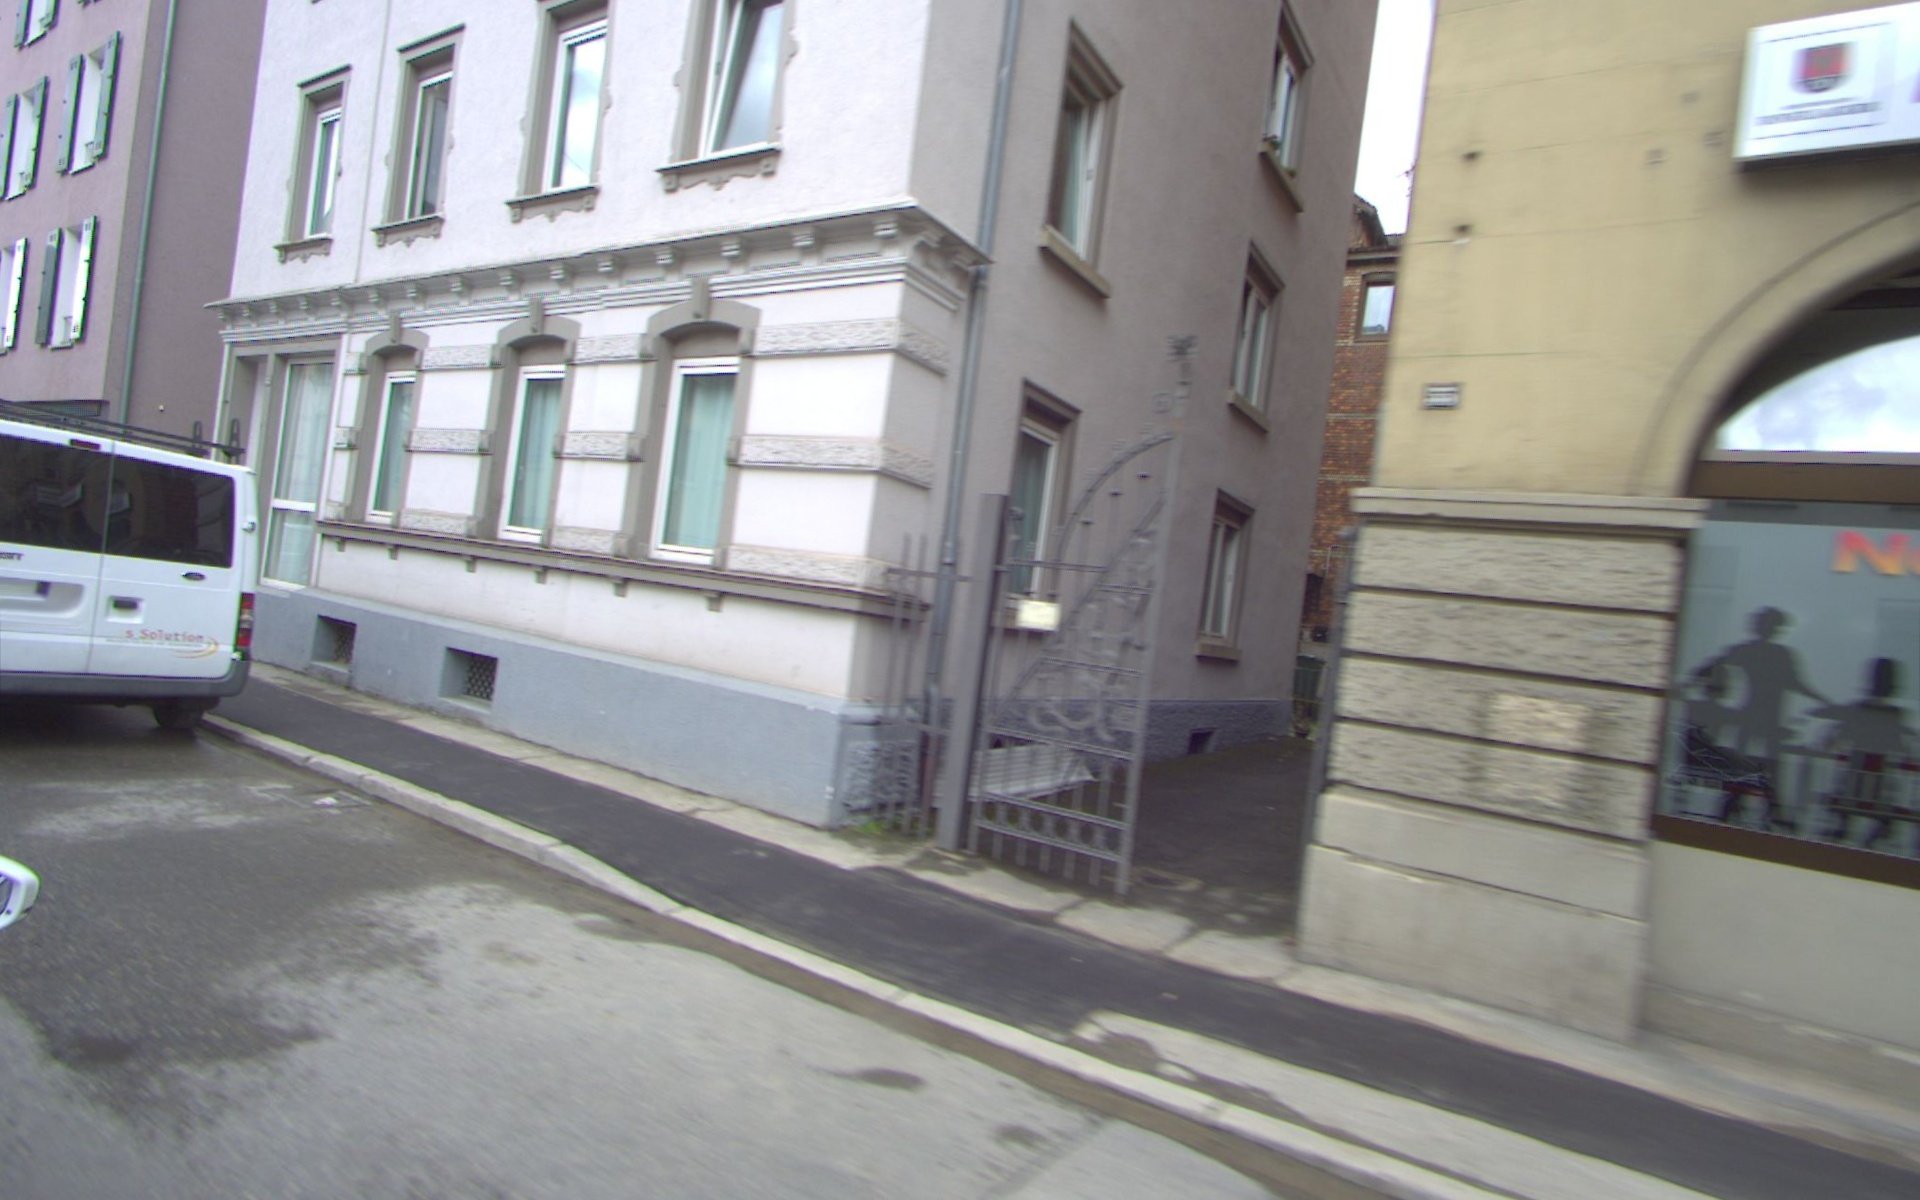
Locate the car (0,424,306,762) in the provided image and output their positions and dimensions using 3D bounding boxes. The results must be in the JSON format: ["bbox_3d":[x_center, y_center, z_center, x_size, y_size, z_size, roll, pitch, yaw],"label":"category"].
[{"bbox_3d":[-7.530,-0.207,7.789,4.845,2.027,2.133,7,-2,32],"label":"car"}]
